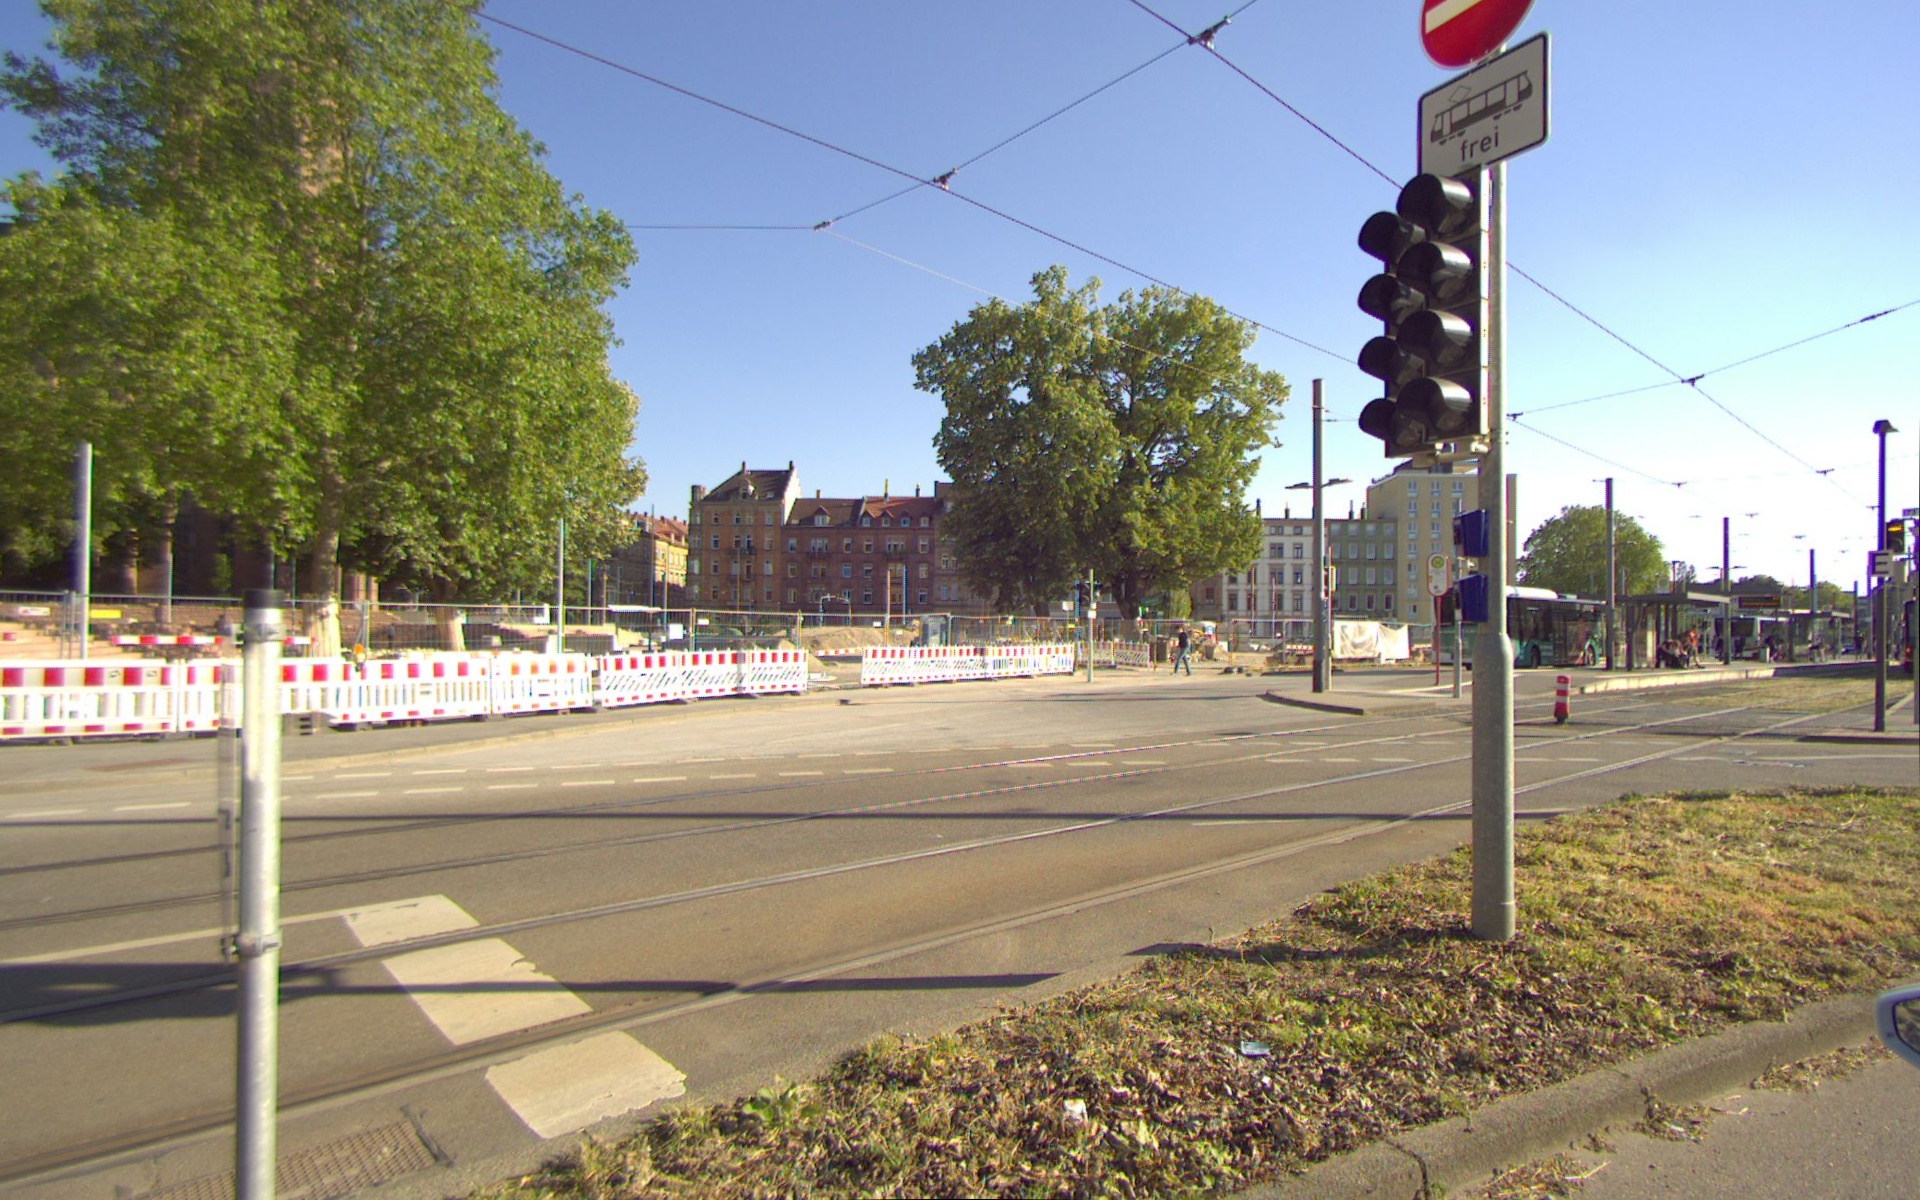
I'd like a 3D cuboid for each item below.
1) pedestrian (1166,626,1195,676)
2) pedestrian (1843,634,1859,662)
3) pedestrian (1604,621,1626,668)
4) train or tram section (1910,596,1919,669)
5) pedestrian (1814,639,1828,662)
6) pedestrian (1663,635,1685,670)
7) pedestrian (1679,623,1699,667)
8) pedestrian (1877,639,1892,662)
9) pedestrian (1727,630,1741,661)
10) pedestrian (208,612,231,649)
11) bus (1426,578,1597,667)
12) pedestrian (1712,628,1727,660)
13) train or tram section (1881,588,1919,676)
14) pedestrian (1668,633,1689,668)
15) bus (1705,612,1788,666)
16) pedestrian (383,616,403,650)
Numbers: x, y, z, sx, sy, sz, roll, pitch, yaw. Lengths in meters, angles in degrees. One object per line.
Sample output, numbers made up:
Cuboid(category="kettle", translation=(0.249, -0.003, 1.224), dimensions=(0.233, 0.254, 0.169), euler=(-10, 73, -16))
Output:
Cuboid(category="pedestrian", translation=(7.687, 1.783, 34.990), dimensions=(0.699, 1.719, 0.899), euler=(-1, -4, 33))
Cuboid(category="pedestrian", translation=(55.400, 2.983, 62.456), dimensions=(0.629, 1.772, 0.570), euler=(-1, -2, 34))
Cuboid(category="pedestrian", translation=(25.070, 1.703, 38.472), dimensions=(0.554, 1.772, 0.534), euler=(2, -2, -35))
Cuboid(category="train or tram section", translation=(53.891, 1.824, 53.780), dimensions=(12.100, 3.644, 2.987), euler=(2, 0, -40))
Cuboid(category="pedestrian", translation=(68.642, 4.009, 80.086), dimensions=(0.634, 1.772, 0.728), euler=(2, -2, -37))
Cuboid(category="pedestrian", translation=(27.673, 2.023, 38.932), dimensions=(0.609, 1.358, 0.438), euler=(-1, -2, 44))
Cuboid(category="pedestrian", translation=(29.560, 1.816, 40.727), dimensions=(0.564, 1.772, 0.636), euler=(-1, -2, 43))
Cuboid(category="pedestrian", translation=(71.641, 3.931, 77.837), dimensions=(0.634, 1.772, 0.728), euler=(2, -2, -37))
Cuboid(category="pedestrian", translation=(44.660, 2.617, 57.950), dimensions=(0.564, 1.772, 0.636), euler=(-1, -2, 41))
Cuboid(category="pedestrian", translation=(-33.605, 1.397, 45.589), dimensions=(0.665, 1.669, 0.635), euler=(1, -1, -18))
Cuboid(category="bus", translation=(22.000, 0.904, 39.749), dimensions=(9.564, 3.177, 2.631), euler=(2, 0, -40))
Cuboid(category="pedestrian", translation=(43.144, 2.504, 57.075), dimensions=(0.629, 1.772, 0.570), euler=(-1, -2, 34))
Cuboid(category="train or tram section", translation=(44.754, 1.496, 45.827), dimensions=(12.108, 3.644, 2.855), euler=(2, 0, -42))
Cuboid(category="pedestrian", translation=(28.181, 1.987, 39.407), dimensions=(0.564, 1.363, 0.636), euler=(-1, -2, 43))
Cuboid(category="bus", translation=(53.960, 2.637, 68.748), dimensions=(13.376, 3.317, 2.694), euler=(2, 0, -44))
Cuboid(category="pedestrian", translation=(-28.390, 1.659, 50.298), dimensions=(0.751, 1.669, 0.671), euler=(1, -1, -26))
